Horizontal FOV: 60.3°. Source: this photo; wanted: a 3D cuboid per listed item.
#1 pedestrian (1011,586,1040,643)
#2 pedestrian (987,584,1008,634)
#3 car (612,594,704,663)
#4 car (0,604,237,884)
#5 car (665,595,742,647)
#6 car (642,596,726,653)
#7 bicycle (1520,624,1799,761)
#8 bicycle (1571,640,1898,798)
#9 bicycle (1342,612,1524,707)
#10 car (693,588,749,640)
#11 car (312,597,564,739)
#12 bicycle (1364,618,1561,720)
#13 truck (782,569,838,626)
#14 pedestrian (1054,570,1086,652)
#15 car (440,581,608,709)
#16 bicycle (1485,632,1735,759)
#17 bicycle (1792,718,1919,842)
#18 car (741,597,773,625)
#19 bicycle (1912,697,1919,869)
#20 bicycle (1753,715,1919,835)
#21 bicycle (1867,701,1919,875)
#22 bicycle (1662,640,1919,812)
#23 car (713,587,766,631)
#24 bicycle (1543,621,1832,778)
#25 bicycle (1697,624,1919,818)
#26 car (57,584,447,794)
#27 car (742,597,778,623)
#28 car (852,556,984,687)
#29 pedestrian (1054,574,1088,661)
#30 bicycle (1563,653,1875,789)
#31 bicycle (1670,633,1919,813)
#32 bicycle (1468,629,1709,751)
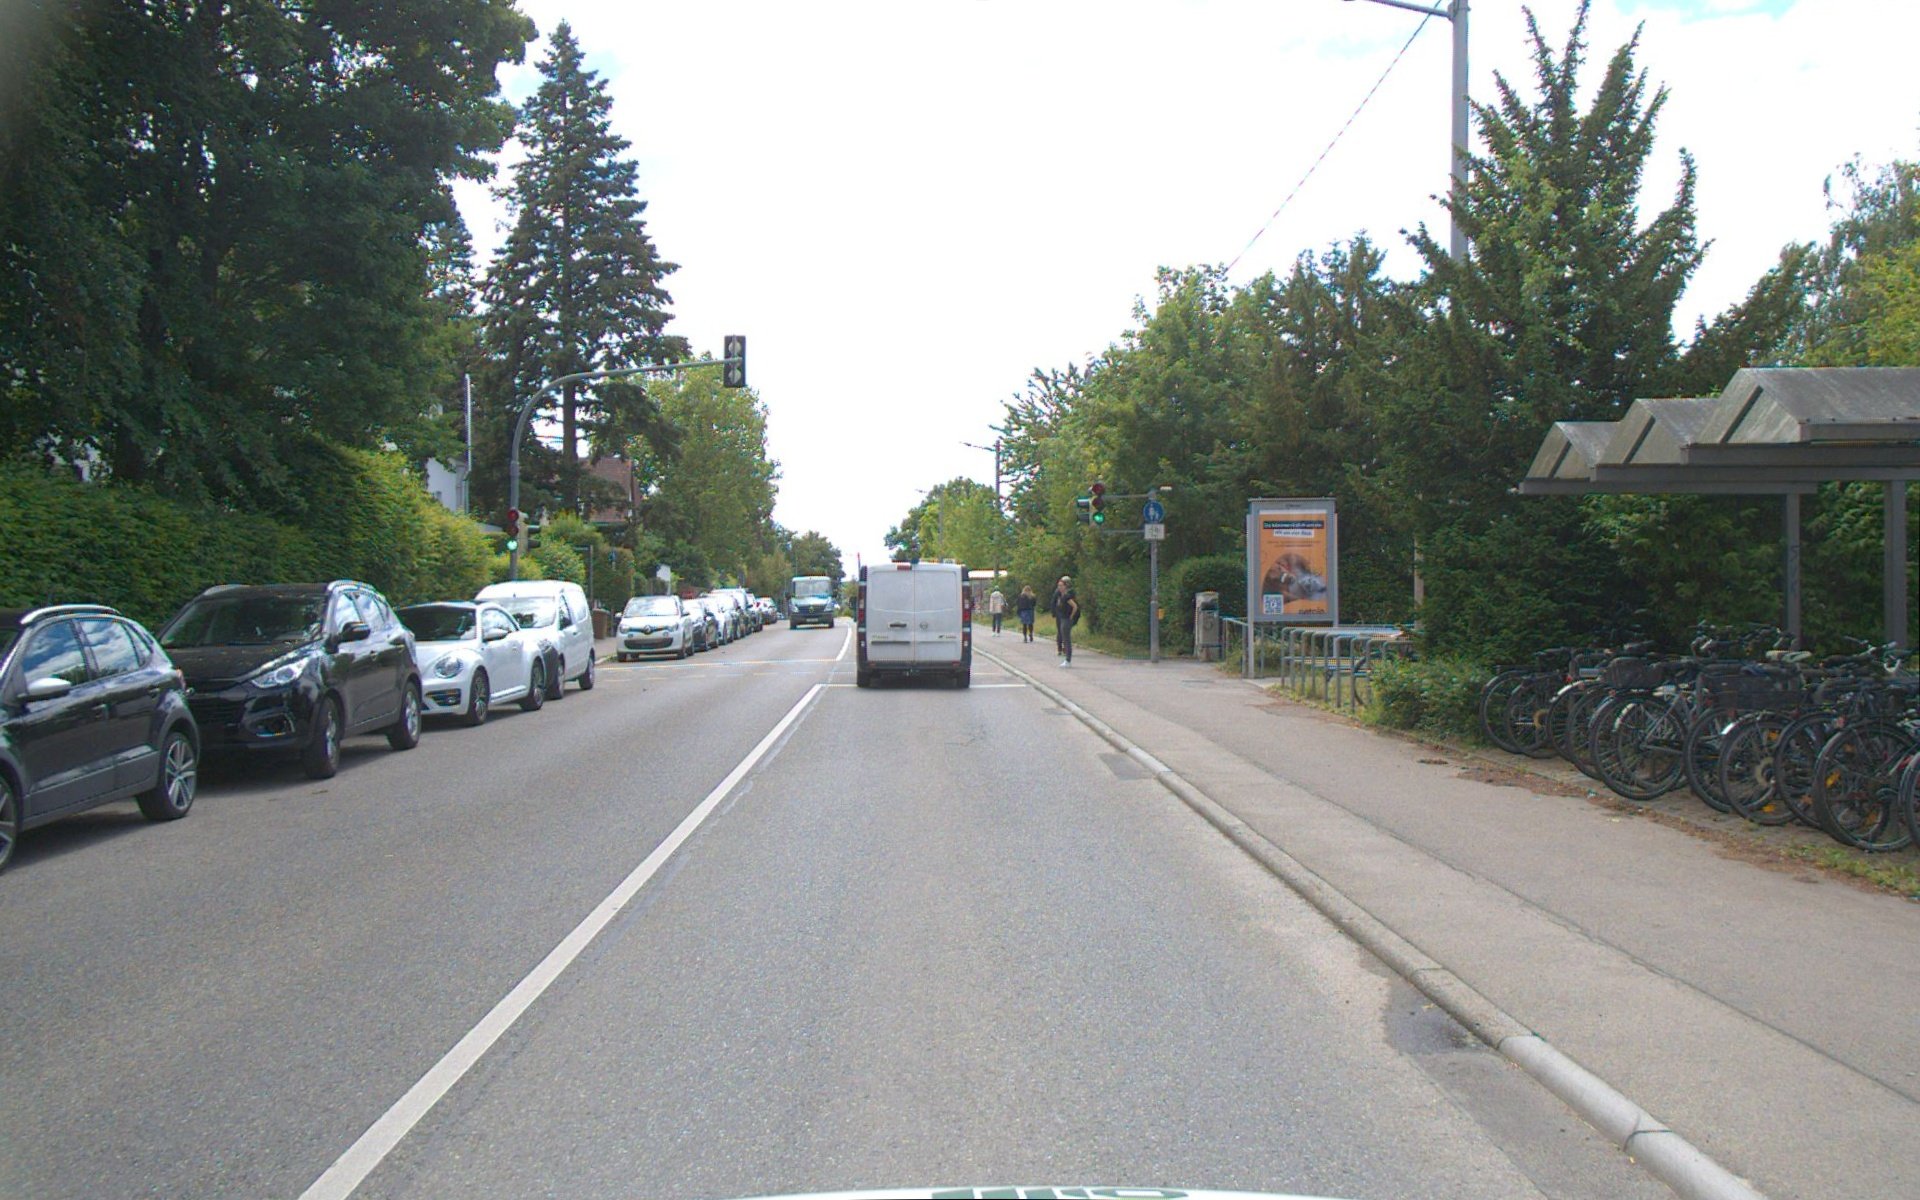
[{"bbox_3d":[1.949,0.432,49.496,0.822,1.688,0.766,1,0,1],"label":"pedestrian"},{"bbox_3d":[1.273,0.310,56.210,0.672,1.688,0.690,1,0,1],"label":"pedestrian"},{"bbox_3d":[-7.512,0.676,41.403,1.668,1.570,3.741,-2,0,-2],"label":"car"},{"bbox_3d":[-6.136,0.797,10.197,1.699,1.484,4.234,-1,0,-3],"label":"car"},{"bbox_3d":[-8.124,0.631,52.803,1.769,1.484,5.067,-2,0,-2],"label":"car"},{"bbox_3d":[-7.770,0.658,46.892,1.708,1.435,4.322,-2,0,-2],"label":"car"},{"bbox_3d":[5.673,0.752,13.518,2.044,1.066,0.451,-1,-1,18],"label":"bicycle"},{"bbox_3d":[5.474,0.827,11.716,2.157,1.066,0.451,0,0,-5],"label":"bicycle"},{"bbox_3d":[5.771,0.715,20.224,2.046,1.100,0.546,-1,0,0],"label":"bicycle"},{"bbox_3d":[-8.512,0.475,59.239,1.594,1.707,4.580,-3,1,-4],"label":"car"},{"bbox_3d":[-6.414,0.761,20.859,1.670,1.478,4.357,-3,0,1],"label":"car"},{"bbox_3d":[5.705,0.776,18.814,2.046,1.065,0.559,2,0,0],"label":"bicycle"},{"bbox_3d":[-6.775,-0.145,75.281,2.145,2.413,6.901,-2,0,-2],"label":"truck"},{"bbox_3d":[2.605,0.265,39.209,0.729,1.915,0.801,1,0,3],"label":"pedestrian"},{"bbox_3d":[-6.805,0.632,26.252,1.643,1.789,4.604,-2,1,-4],"label":"car"},{"bbox_3d":[5.673,0.829,14.449,2.048,1.066,0.450,1,0,-6],"label":"bicycle"},{"bbox_3d":[5.683,1.011,9.420,1.948,0.650,0.331,1,0,-14],"label":"bicycle"},{"bbox_3d":[-11.315,0.595,92.035,1.621,1.452,3.898,-2,1,-9],"label":"car"},{"bbox_3d":[5.724,0.914,7.917,2.033,0.841,0.451,1,0,3],"label":"bicycle"},{"bbox_3d":[5.462,1.008,9.677,1.648,0.650,0.331,1,0,-14],"label":"bicycle"},{"bbox_3d":[5.748,0.965,8.514,1.949,0.841,0.451,1,0,-3],"label":"bicycle"},{"bbox_3d":[5.736,0.806,10.712,2.154,1.066,0.451,-1,0,3],"label":"bicycle"},{"bbox_3d":[-9.474,0.356,71.305,1.946,1.851,4.703,-1,0,-4],"label":"car"},{"bbox_3d":[5.583,0.748,12.726,2.048,1.170,0.530,0,0,-6],"label":"bicycle"},{"bbox_3d":[5.774,0.740,10.288,2.154,1.169,0.451,0,0,3],"label":"bicycle"},{"bbox_3d":[-6.254,0.675,15.269,1.859,1.621,4.640,-1,0,-4],"label":"car"},{"bbox_3d":[-11.676,0.574,96.936,1.830,1.484,4.485,-1,0,-4],"label":"car"},{"bbox_3d":[-0.759,0.332,27.860,1.994,1.979,4.991,1,0,-3],"label":"car"},{"bbox_3d":[2.196,0.351,32.716,0.634,1.693,0.708,1,0,2],"label":"pedestrian"},{"bbox_3d":[5.595,0.890,12.212,2.158,0.954,0.451,1,0,-6],"label":"bicycle"},{"bbox_3d":[5.958,0.801,11.143,2.158,1.065,0.451,-3,0,-5],"label":"bicycle"},{"bbox_3d":[5.695,0.813,15.007,2.048,1.066,0.450,1,0,-6],"label":"bicycle"}]
